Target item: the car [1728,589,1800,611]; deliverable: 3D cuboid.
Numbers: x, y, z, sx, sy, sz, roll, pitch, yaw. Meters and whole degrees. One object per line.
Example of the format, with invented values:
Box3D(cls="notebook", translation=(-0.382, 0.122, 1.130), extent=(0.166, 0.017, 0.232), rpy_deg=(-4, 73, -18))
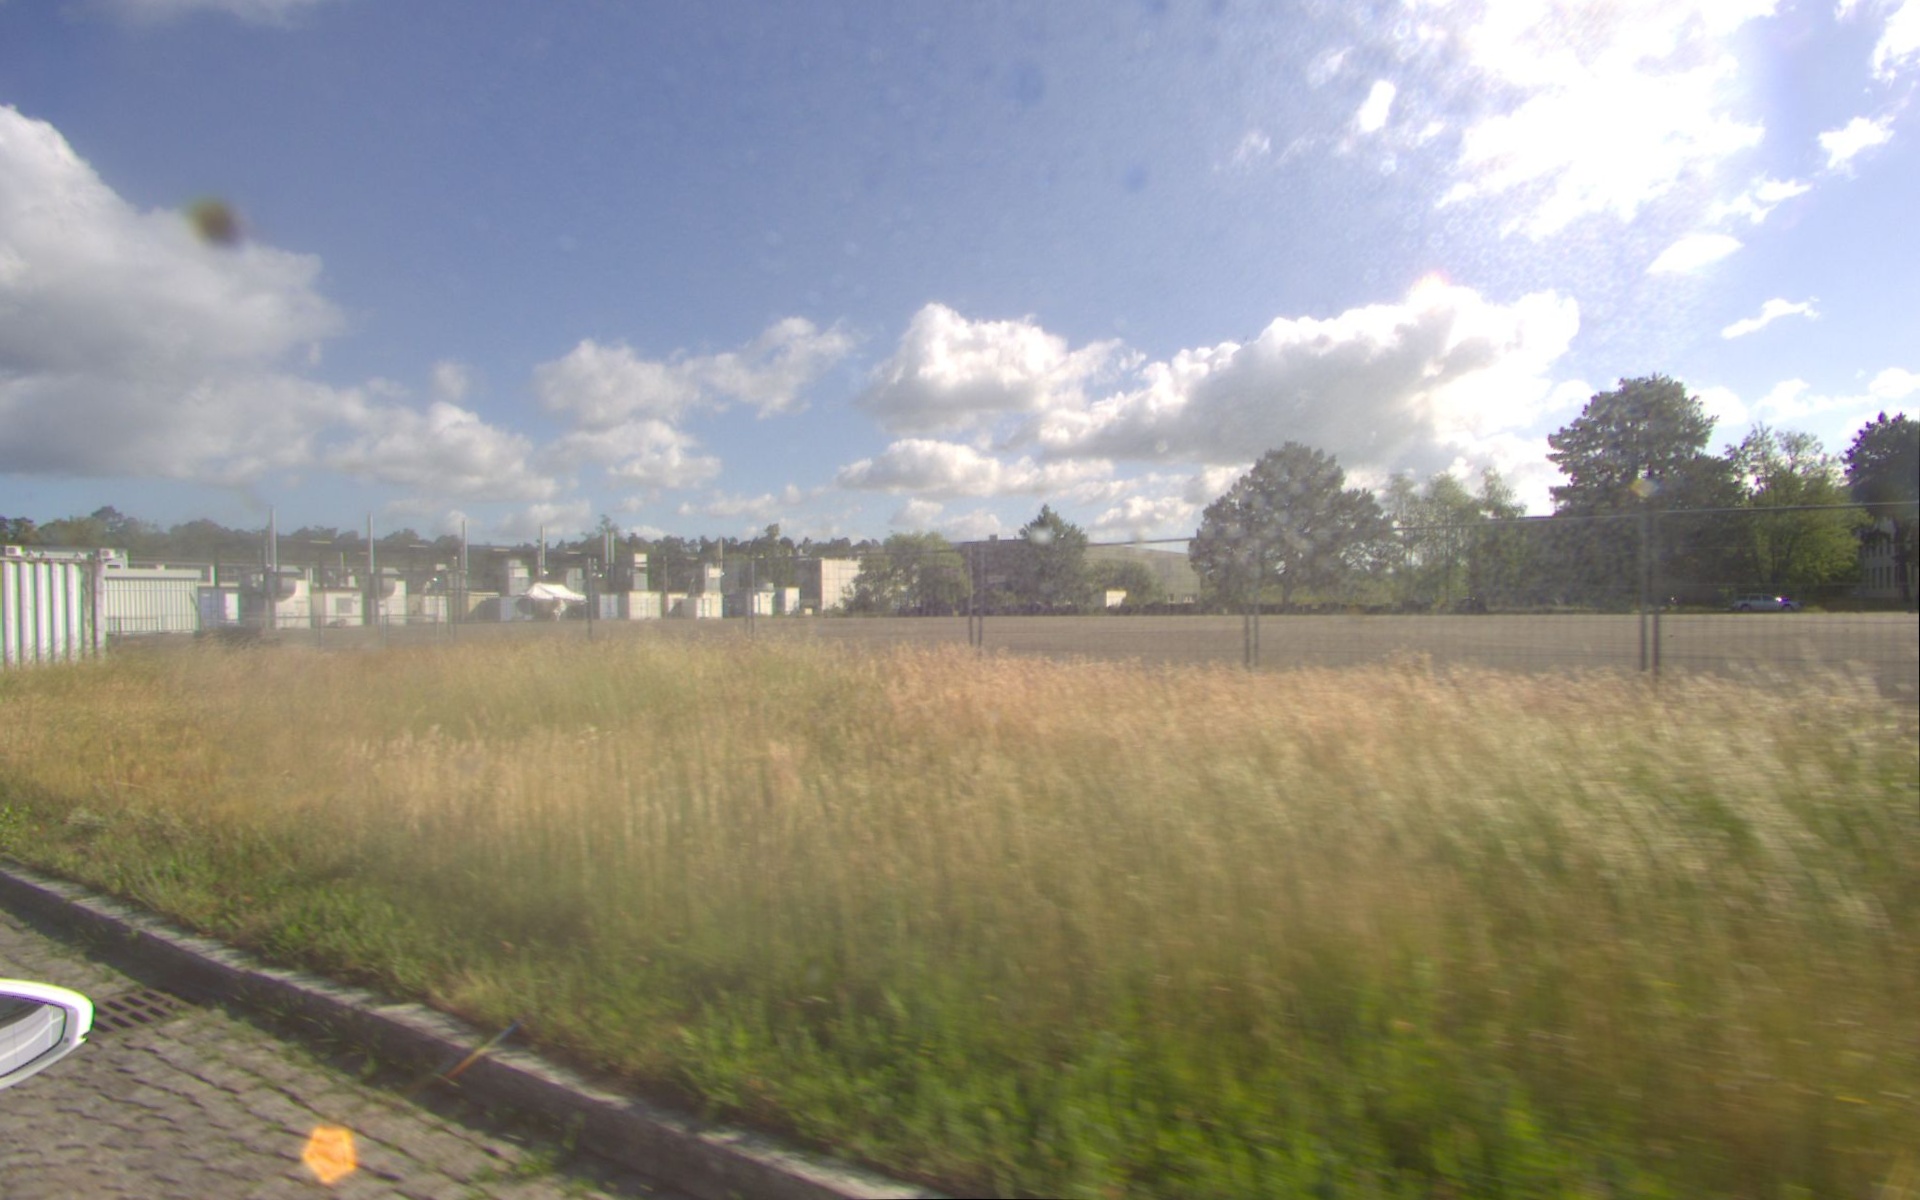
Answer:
Box3D(cls="car", translation=(60.966, -0.008, 75.989), extent=(3.938, 1.603, 1.992), rpy_deg=(-1, 0, 28))
